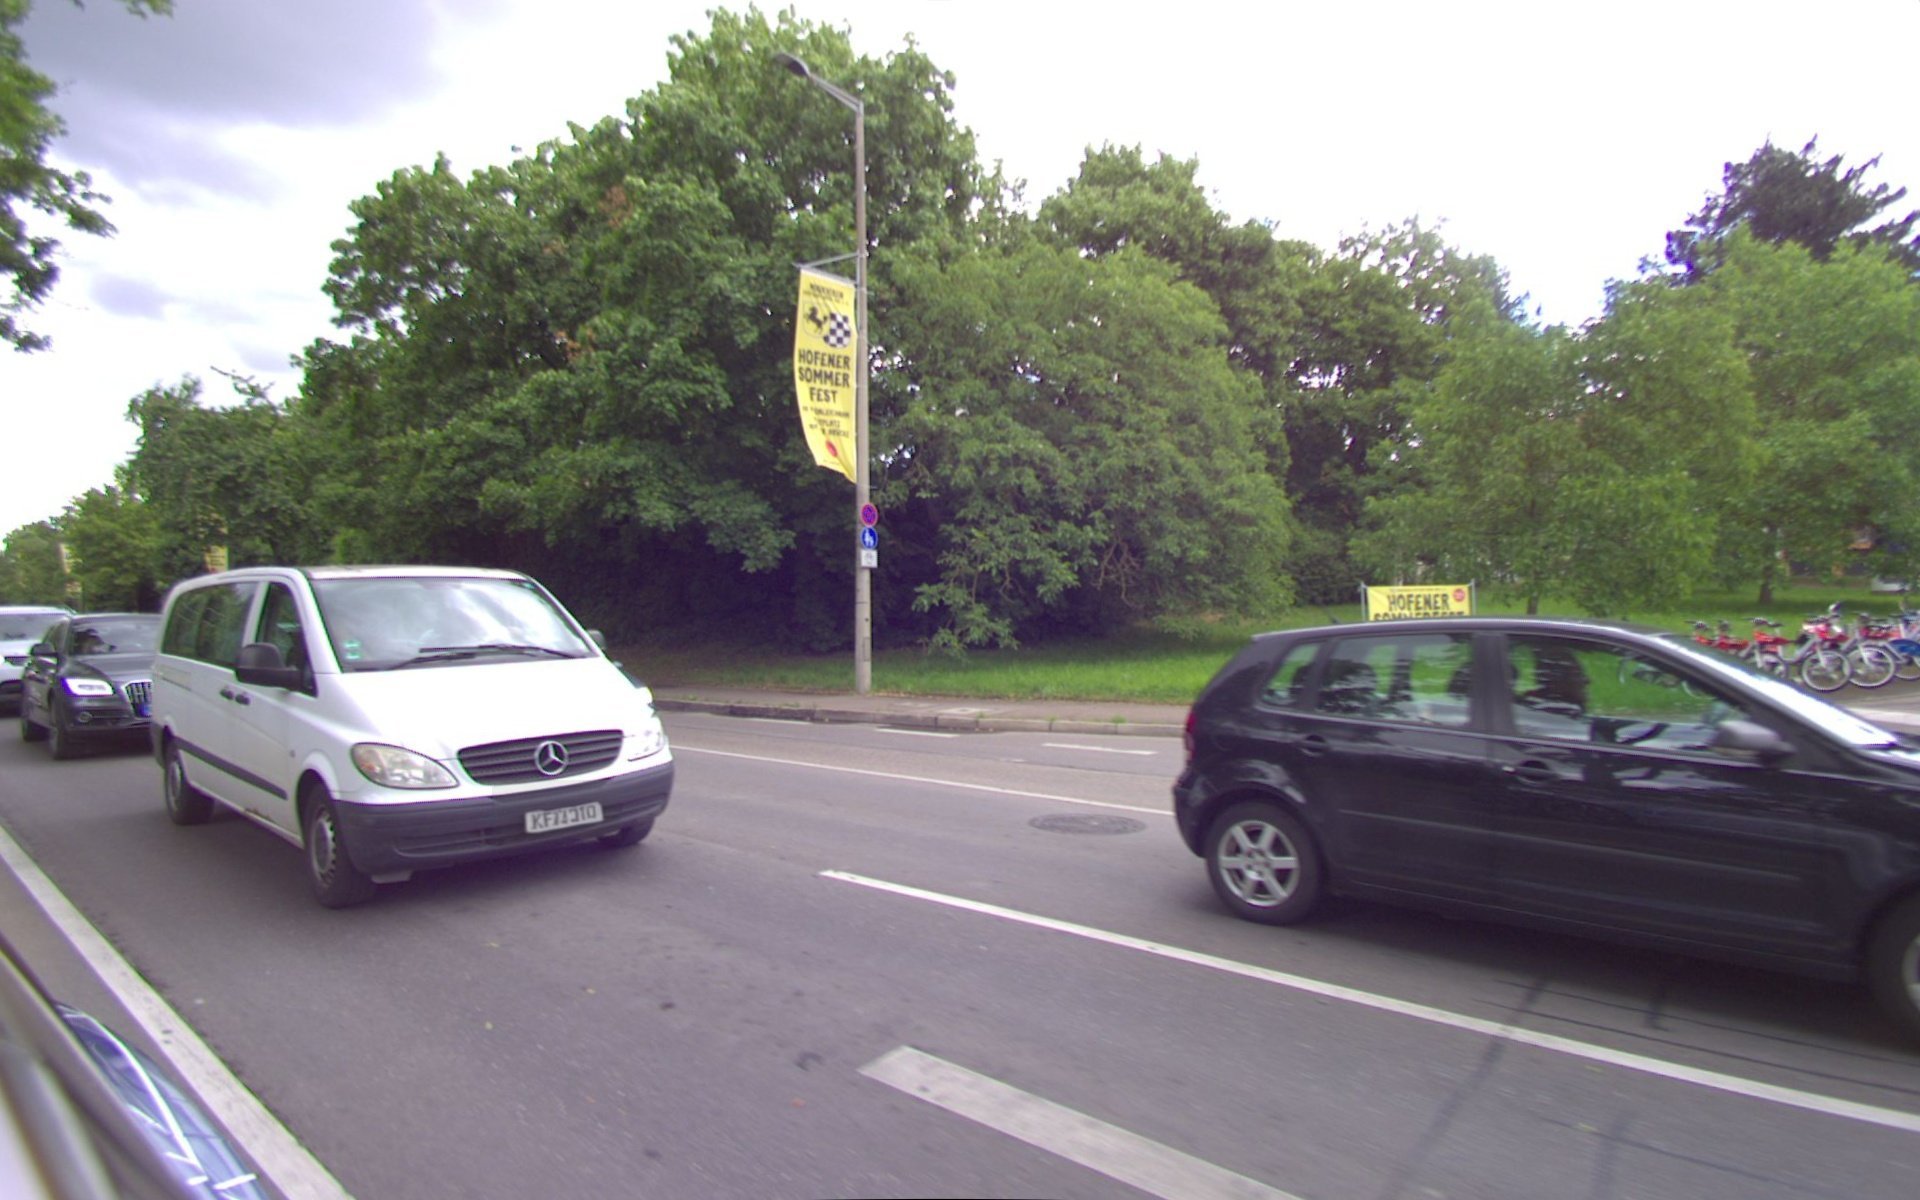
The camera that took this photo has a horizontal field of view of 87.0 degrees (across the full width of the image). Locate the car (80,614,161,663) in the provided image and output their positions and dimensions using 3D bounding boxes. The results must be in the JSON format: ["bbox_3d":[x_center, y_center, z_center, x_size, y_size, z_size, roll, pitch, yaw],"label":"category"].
[{"bbox_3d":[-33.456,1.529,40.297,4.407,1.845,1.772,-2,-3,41],"label":"car"}]

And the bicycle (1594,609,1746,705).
[{"bbox_3d":[10.207,0.774,14.641,0.537,1.262,1.940,-1,0,-11],"label":"bicycle"}]

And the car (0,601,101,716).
[{"bbox_3d":[-16.726,0.958,17.878,4.502,1.808,1.784,-1,0,42],"label":"car"}]

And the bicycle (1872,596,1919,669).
[{"bbox_3d":[17.090,0.569,17.450,0.536,1.262,1.942,-2,0,-26],"label":"bicycle"}]

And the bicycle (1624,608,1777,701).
[{"bbox_3d":[10.843,0.755,14.918,0.537,1.262,1.940,-2,0,-11],"label":"bicycle"}]

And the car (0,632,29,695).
[{"bbox_3d":[-21.758,1.382,22.283,3.822,1.276,1.538,-1,-1,43],"label":"car"}]

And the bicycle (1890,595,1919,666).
[{"bbox_3d":[17.717,0.550,17.771,0.536,1.262,1.941,-2,0,-32],"label":"bicycle"}]

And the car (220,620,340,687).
[{"bbox_3d":[-17.716,1.331,26.306,3.910,1.550,1.720,-1,0,43],"label":"car"}]

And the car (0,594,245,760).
[{"bbox_3d":[-10.576,0.875,12.674,4.333,1.731,1.732,-2,-2,42],"label":"car"}]

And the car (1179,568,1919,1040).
[{"bbox_3d":[2.993,0.684,4.251,3.806,1.478,1.539,-2,-3,42],"label":"car"}]

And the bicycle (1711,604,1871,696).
[{"bbox_3d":[12.420,0.711,15.216,0.537,1.262,1.940,-1,0,-11],"label":"bicycle"}]

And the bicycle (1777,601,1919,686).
[{"bbox_3d":[14.167,0.659,15.929,0.536,1.262,1.941,-2,0,-32],"label":"bicycle"}]

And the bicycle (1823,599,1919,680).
[{"bbox_3d":[15.297,0.625,16.457,0.536,1.262,1.941,-2,0,-15],"label":"bicycle"}]

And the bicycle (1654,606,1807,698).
[{"bbox_3d":[11.506,0.735,15.196,0.537,1.262,1.940,-1,0,-11],"label":"bicycle"}]

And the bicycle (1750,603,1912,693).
[{"bbox_3d":[13.284,0.686,15.511,0.537,1.262,1.940,-1,0,-11],"label":"bicycle"}]

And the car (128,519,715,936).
[{"bbox_3d":[-4.029,0.621,6.991,5.280,1.857,1.887,-2,-1,42],"label":"car"}]

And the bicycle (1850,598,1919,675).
[{"bbox_3d":[16.132,0.600,16.869,0.536,1.262,1.941,-2,0,-15],"label":"bicycle"}]
